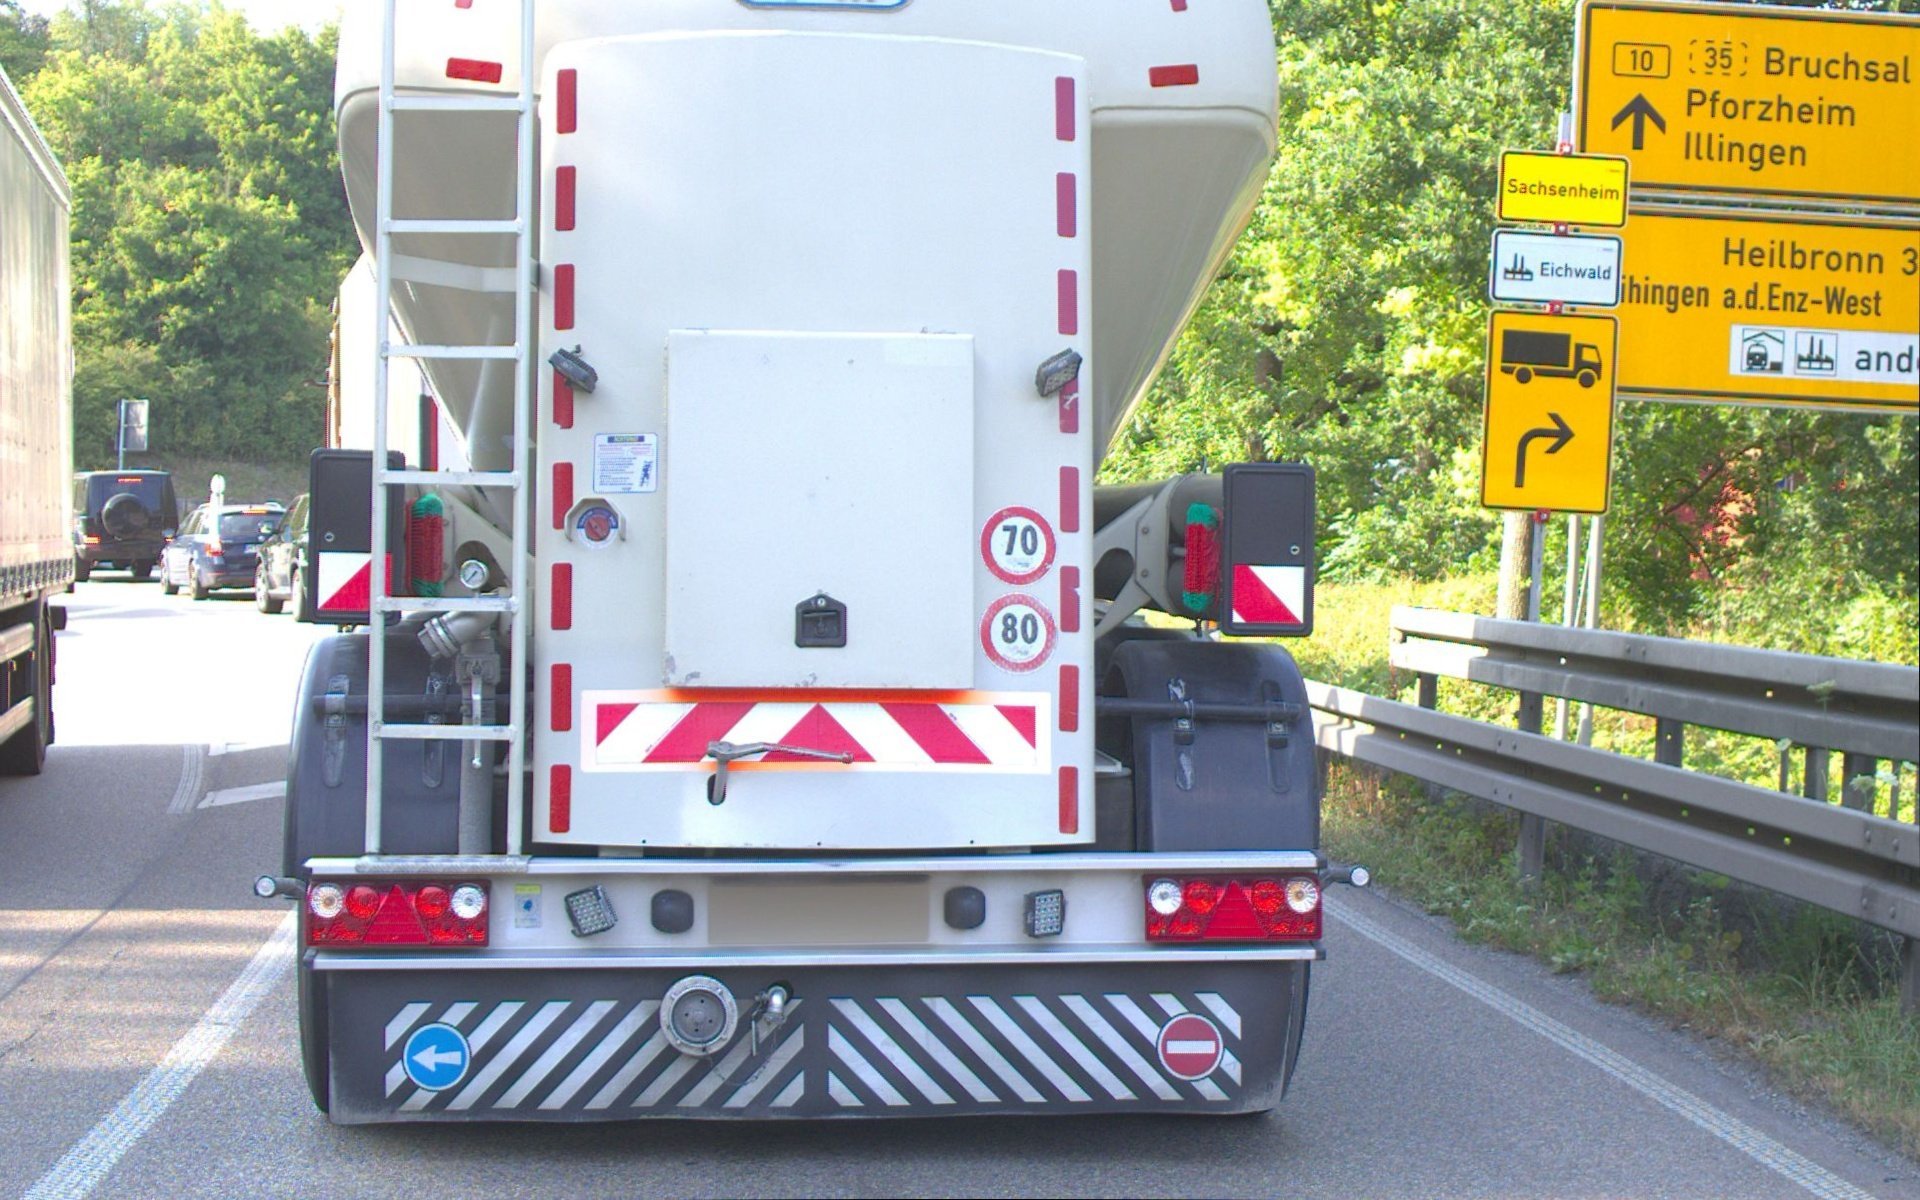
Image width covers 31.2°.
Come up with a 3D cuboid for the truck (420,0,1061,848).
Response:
[{"bbox_3d":[-1.334,-0.958,18.343,2.823,4.021,5.896,1,1,-7],"label":"truck"}]

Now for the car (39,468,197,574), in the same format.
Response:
[{"bbox_3d":[-15.335,-1.472,62.474,1.956,1.845,4.001,-1,2,-26],"label":"car"}]

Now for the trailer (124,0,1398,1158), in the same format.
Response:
[{"bbox_3d":[-0.815,-1.024,12.678,2.886,4.439,9.607,1,1,-5],"label":"trailer"}]

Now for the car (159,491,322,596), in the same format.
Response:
[{"bbox_3d":[-11.289,-0.910,53.771,1.867,1.559,4.001,-1,2,-21],"label":"car"}]

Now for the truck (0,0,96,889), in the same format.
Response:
[{"bbox_3d":[-6.350,-1.074,18.075,3.011,4.569,10.244,1,1,-12],"label":"truck"}]

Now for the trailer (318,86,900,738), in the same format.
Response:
[{"bbox_3d":[-3.645,-1.426,30.733,3.544,4.497,12.988,2,1,-13],"label":"trailer"}]

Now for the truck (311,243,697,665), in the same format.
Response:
[{"bbox_3d":[-5.094,-1.540,37.193,3.449,4.072,6.493,1,2,-13],"label":"truck"}]

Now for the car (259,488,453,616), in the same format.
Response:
[{"bbox_3d":[-8.111,-0.680,45.931,1.867,1.622,4.001,-1,2,-20],"label":"car"}]
